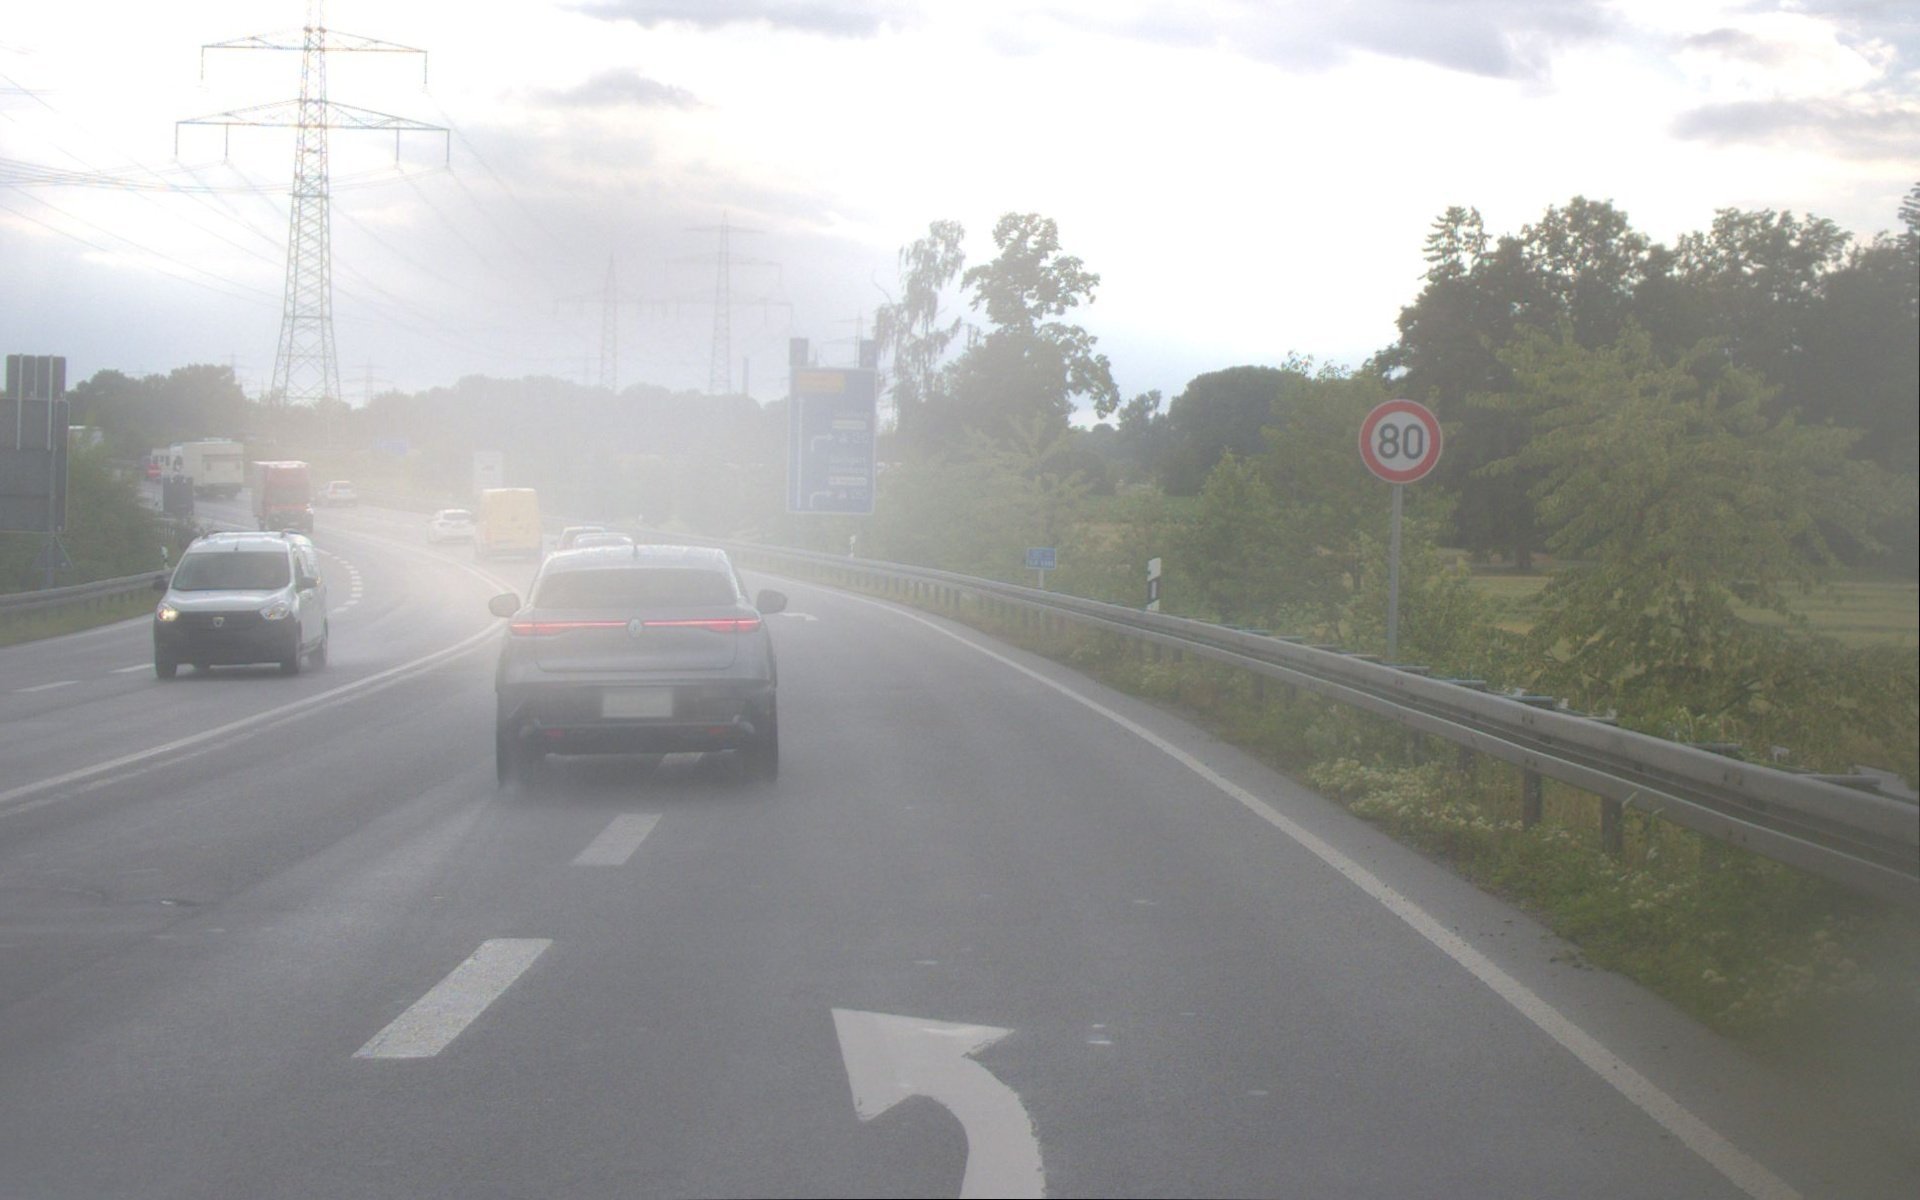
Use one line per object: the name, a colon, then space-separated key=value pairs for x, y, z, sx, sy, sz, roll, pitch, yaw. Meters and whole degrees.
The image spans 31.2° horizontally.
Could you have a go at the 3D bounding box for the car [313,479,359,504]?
car: x=-36.452 y=-6.321 z=200.762 sx=1.791 sy=1.436 sz=4.001 roll=1 pitch=1 yaw=-23

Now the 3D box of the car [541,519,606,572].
car: x=-11.623 y=-1.637 z=103.235 sx=1.791 sy=1.536 sz=4.001 roll=-1 pitch=1 yaw=-8

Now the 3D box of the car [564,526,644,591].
car: x=-8.405 y=-0.997 z=81.428 sx=1.791 sy=1.436 sz=4.001 roll=-2 pitch=1 yaw=-5

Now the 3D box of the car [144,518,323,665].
car: x=-9.016 y=-0.145 z=42.947 sx=1.789 sy=1.660 sz=4.371 roll=3 pitch=1 yaw=-8

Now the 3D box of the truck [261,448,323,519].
truck: x=-31.980 y=-5.578 z=164.491 sx=2.480 sy=3.280 sz=7.283 roll=-2 pitch=2 yaw=-13

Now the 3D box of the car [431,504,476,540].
car: x=-21.112 y=-3.252 z=143.243 sx=1.791 sy=1.436 sz=4.001 roll=-2 pitch=2 yaw=-9

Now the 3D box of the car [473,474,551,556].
car: x=-15.705 y=-2.979 z=120.431 sx=2.572 sy=2.716 sz=7.198 roll=-1 pitch=1 yaw=-8

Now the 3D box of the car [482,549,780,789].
car: x=-2.105 y=0.387 z=22.857 sx=1.791 sy=1.436 sz=4.001 roll=0 pitch=1 yaw=-3
